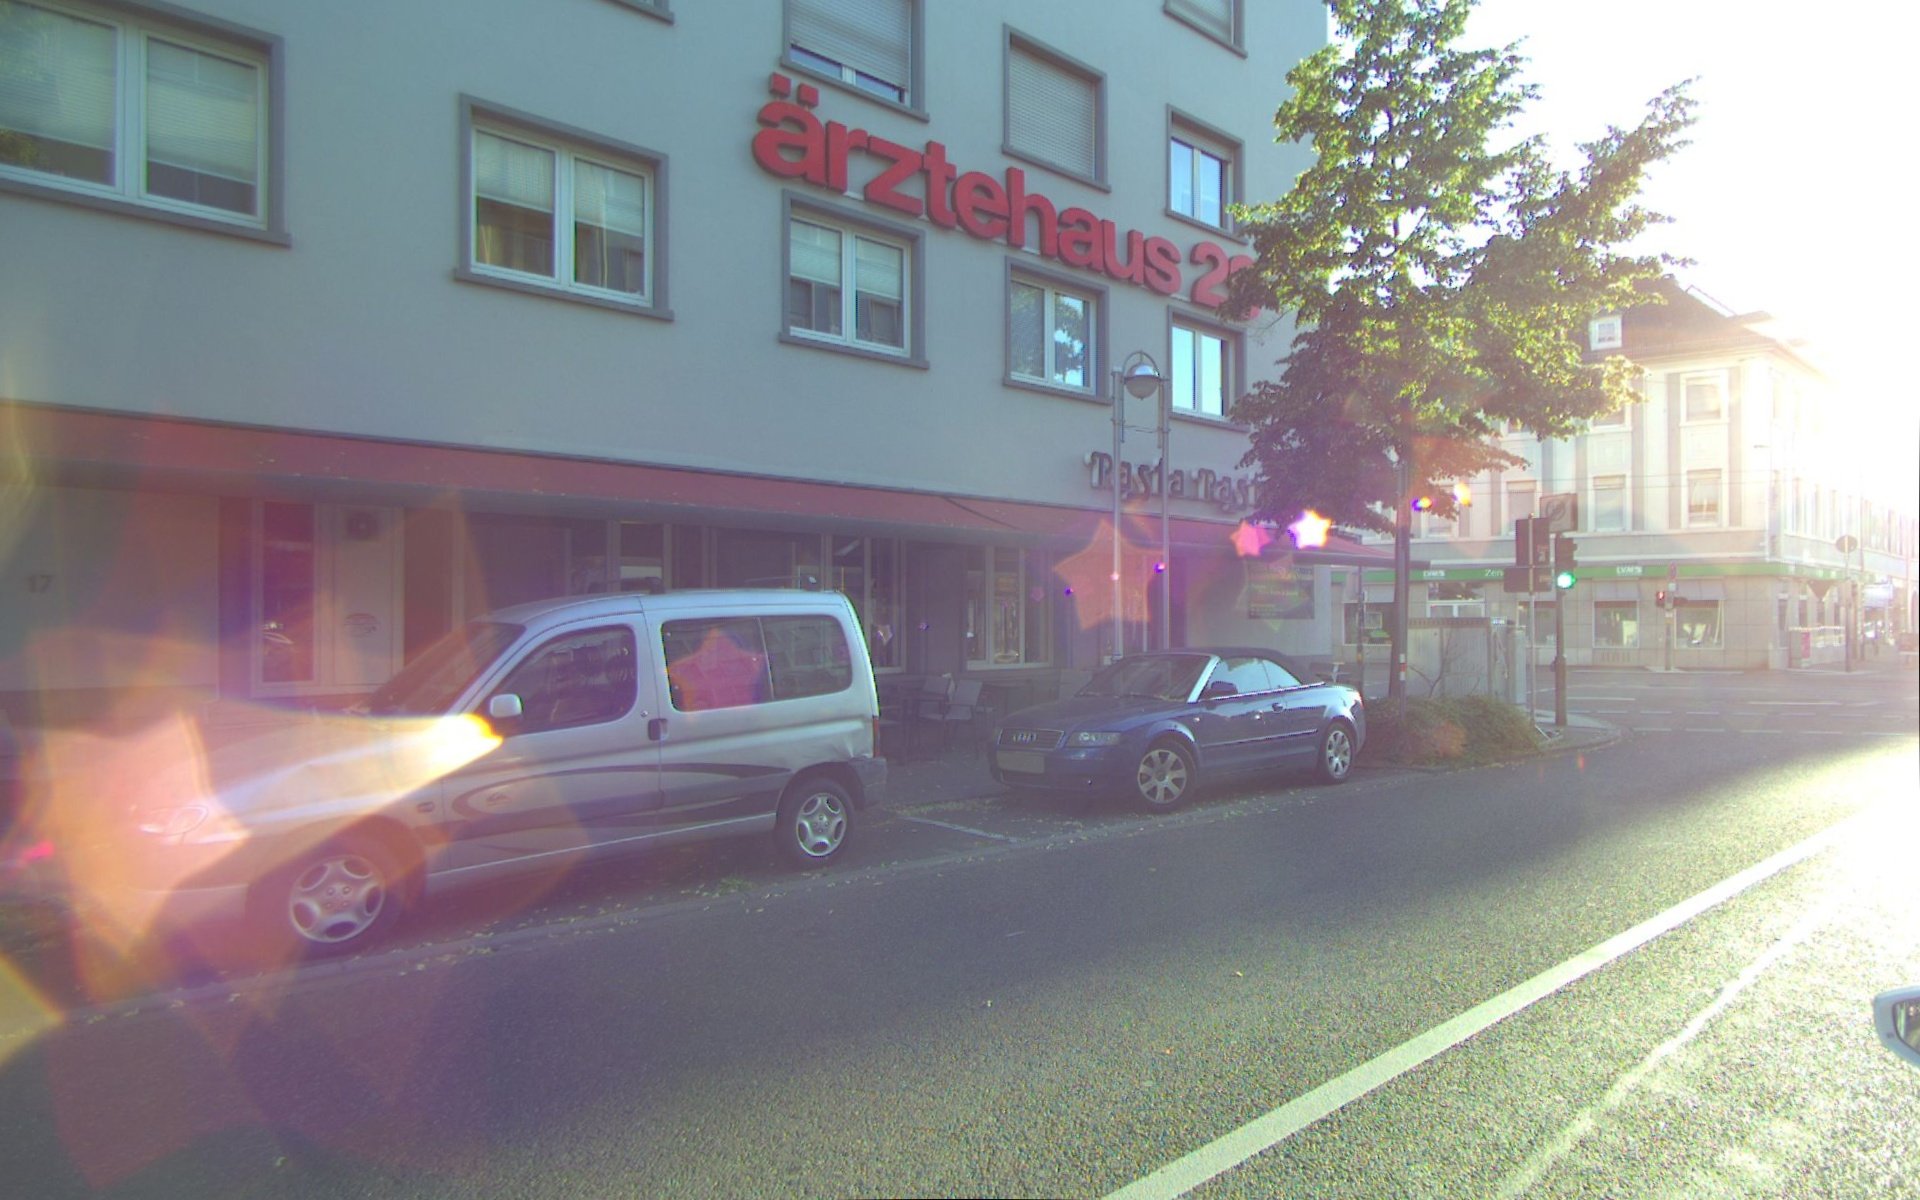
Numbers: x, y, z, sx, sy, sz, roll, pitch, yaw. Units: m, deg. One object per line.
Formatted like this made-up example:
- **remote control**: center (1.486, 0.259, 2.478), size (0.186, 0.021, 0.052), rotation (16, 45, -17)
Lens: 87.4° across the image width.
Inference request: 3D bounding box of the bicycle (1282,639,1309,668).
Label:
- **bicycle**: center (13.106, 2.087, 39.194), size (0.490, 1.073, 1.736), rotation (0, -1, 36)

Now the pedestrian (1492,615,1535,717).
- **pedestrian**: center (9.354, 1.092, 17.001), size (0.575, 1.678, 0.799), rotation (0, -1, 25)

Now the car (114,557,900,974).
- **car**: center (-2.456, 0.708, 6.032), size (3.970, 1.686, 1.699), rotation (2, 0, -42)

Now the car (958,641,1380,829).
- **car**: center (2.150, 1.112, 9.663), size (4.274, 1.371, 1.636), rotation (1, -2, -39)
